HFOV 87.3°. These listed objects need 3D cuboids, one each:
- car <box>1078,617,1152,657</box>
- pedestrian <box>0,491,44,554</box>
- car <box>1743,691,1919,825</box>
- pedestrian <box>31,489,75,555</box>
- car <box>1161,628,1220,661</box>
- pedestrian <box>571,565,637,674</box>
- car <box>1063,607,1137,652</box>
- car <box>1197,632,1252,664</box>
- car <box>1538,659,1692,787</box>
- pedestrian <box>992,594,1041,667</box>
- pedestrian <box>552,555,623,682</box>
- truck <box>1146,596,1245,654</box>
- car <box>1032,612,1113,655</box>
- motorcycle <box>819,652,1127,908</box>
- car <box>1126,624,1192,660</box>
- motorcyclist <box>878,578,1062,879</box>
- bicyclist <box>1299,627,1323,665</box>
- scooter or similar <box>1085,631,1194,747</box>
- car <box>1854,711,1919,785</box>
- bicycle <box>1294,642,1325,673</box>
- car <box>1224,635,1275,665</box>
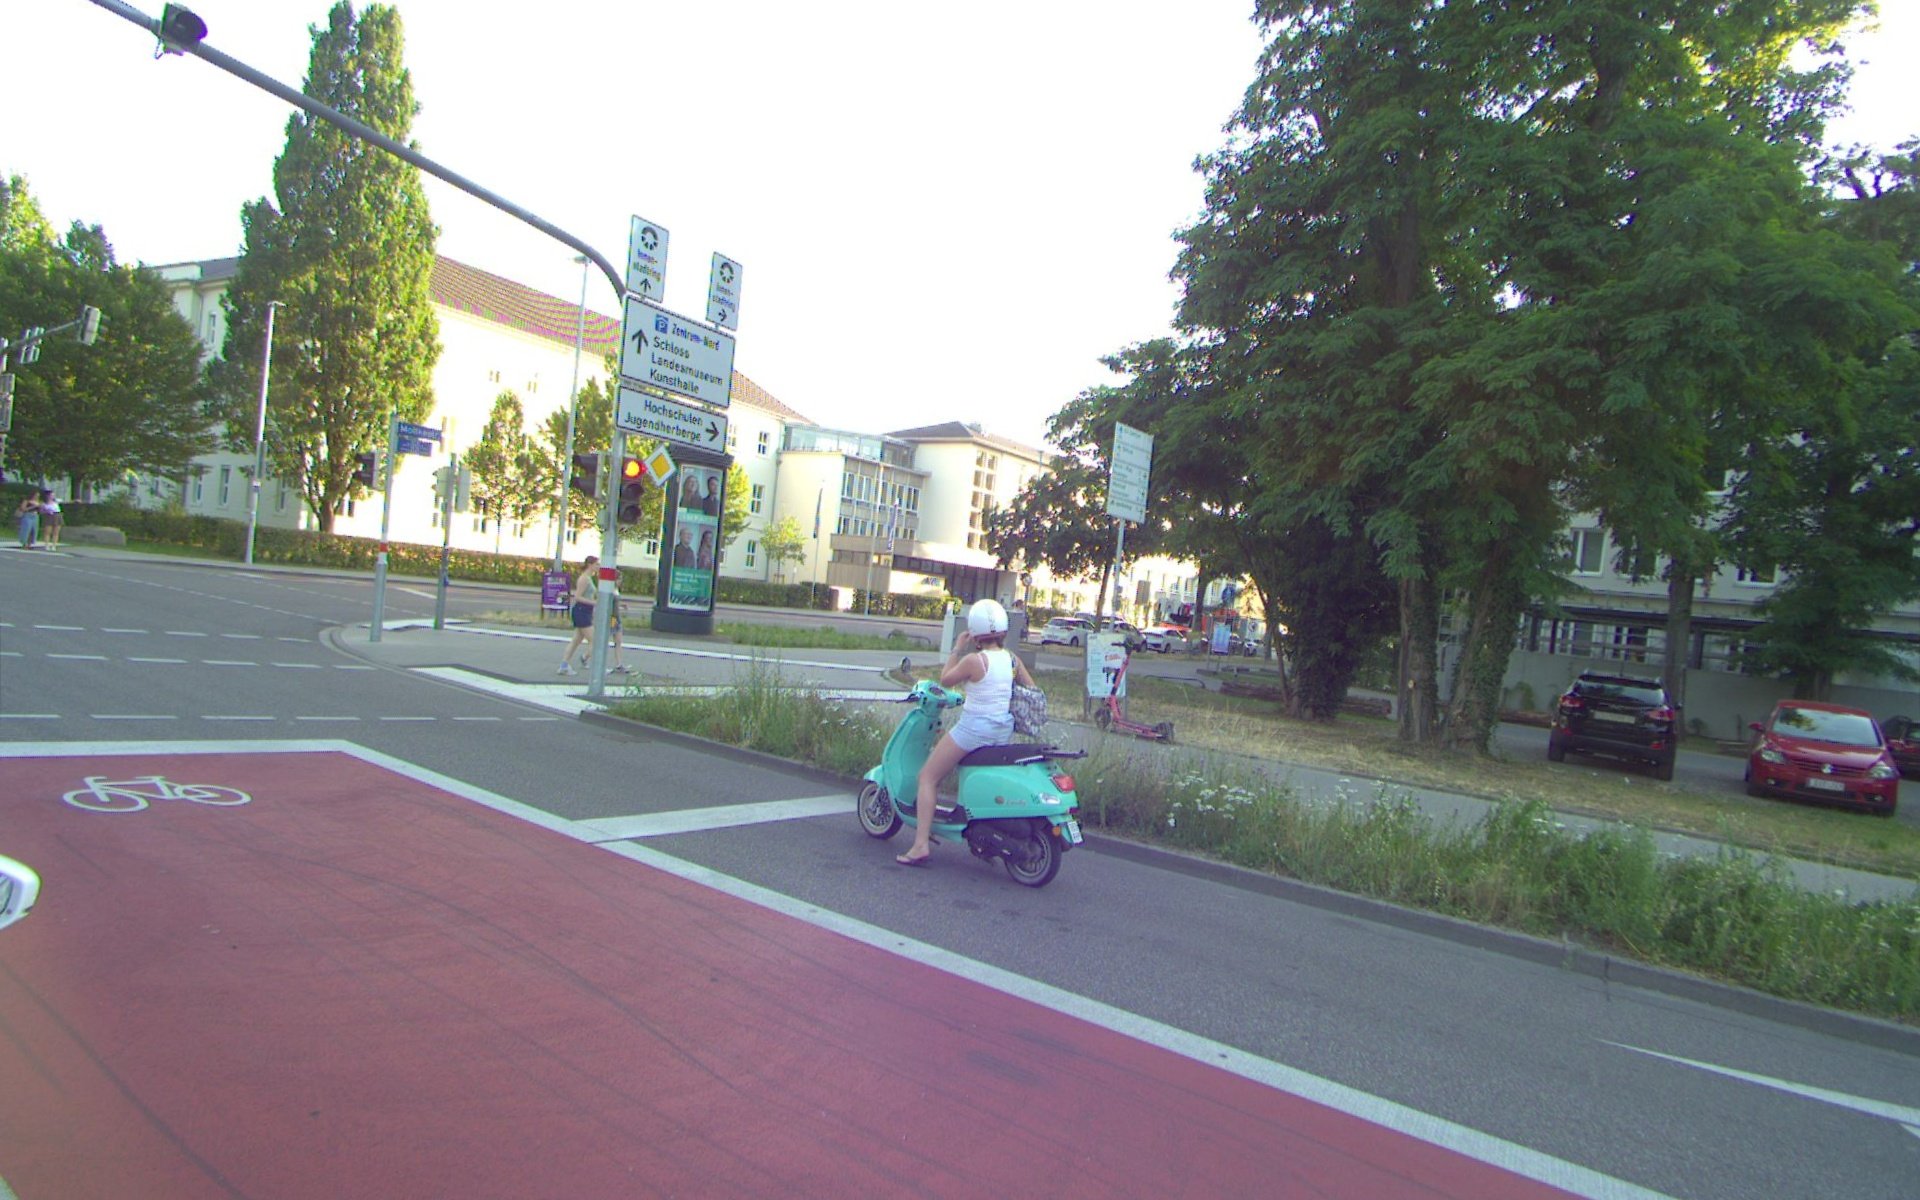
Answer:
[{"bbox_3d":[7.940,1.906,51.280,1.970,1.632,3.985,7,0,37],"label":"car"},{"bbox_3d":[-26.566,-2.197,28.451,0.831,1.643,0.681,8,2,32],"label":"pedestrian"},{"bbox_3d":[14.050,2.424,16.375,1.890,1.631,3.984,7,0,38],"label":"car"},{"bbox_3d":[-26.202,-2.240,29.074,0.677,1.776,0.681,8,2,31],"label":"pedestrian"},{"bbox_3d":[13.754,2.662,59.943,1.969,1.660,3.987,7,0,35],"label":"car"},{"bbox_3d":[-5.382,0.288,15.256,0.777,1.542,0.734,6,1,-17],"label":"pedestrian"},{"bbox_3d":[7.733,1.653,55.277,2.024,1.884,4.486,7,-2,35],"label":"car"},{"bbox_3d":[16.733,3.038,63.527,1.969,1.660,3.987,7,0,35],"label":"car"},{"bbox_3d":[11.768,2.094,17.953,1.890,1.762,4.223,7,0,37],"label":"car"},{"bbox_3d":[1.457,0.788,25.923,0.694,1.761,0.892,7,1,40],"label":"pedestrian"},{"bbox_3d":[-5.259,0.254,14.232,0.765,1.681,0.718,6,1,-19],"label":"pedestrian"},{"bbox_3d":[15.925,1.781,67.367,2.599,3.179,10.243,6,0,35],"label":"truck"},{"bbox_3d":[5.375,1.609,47.716,1.872,1.660,3.983,7,0,38],"label":"car"},{"bbox_3d":[0.031,1.069,6.496,1.866,1.212,0.681,7,0,40],"label":"motorcycle"},{"bbox_3d":[10.956,2.317,55.210,1.969,1.660,3.987,7,0,35],"label":"car"},{"bbox_3d":[0.069,0.795,6.493,0.680,1.758,0.737,7,1,40],"label":"motorcyclist"},{"bbox_3d":[15.920,2.077,45.613,0.563,1.609,0.904,7,1,40],"label":"bicyclist"},{"bbox_3d":[2.268,1.111,12.755,1.159,1.288,0.440,7,1,31],"label":"scooter or similar"},{"bbox_3d":[22.995,3.587,24.042,1.742,1.477,3.618,7,0,33],"label":"car"},{"bbox_3d":[15.855,2.622,45.650,0.563,1.256,1.891,7,0,40],"label":"bicycle"},{"bbox_3d":[19.656,3.410,68.205,1.969,1.660,3.987,7,0,35],"label":"car"}]
